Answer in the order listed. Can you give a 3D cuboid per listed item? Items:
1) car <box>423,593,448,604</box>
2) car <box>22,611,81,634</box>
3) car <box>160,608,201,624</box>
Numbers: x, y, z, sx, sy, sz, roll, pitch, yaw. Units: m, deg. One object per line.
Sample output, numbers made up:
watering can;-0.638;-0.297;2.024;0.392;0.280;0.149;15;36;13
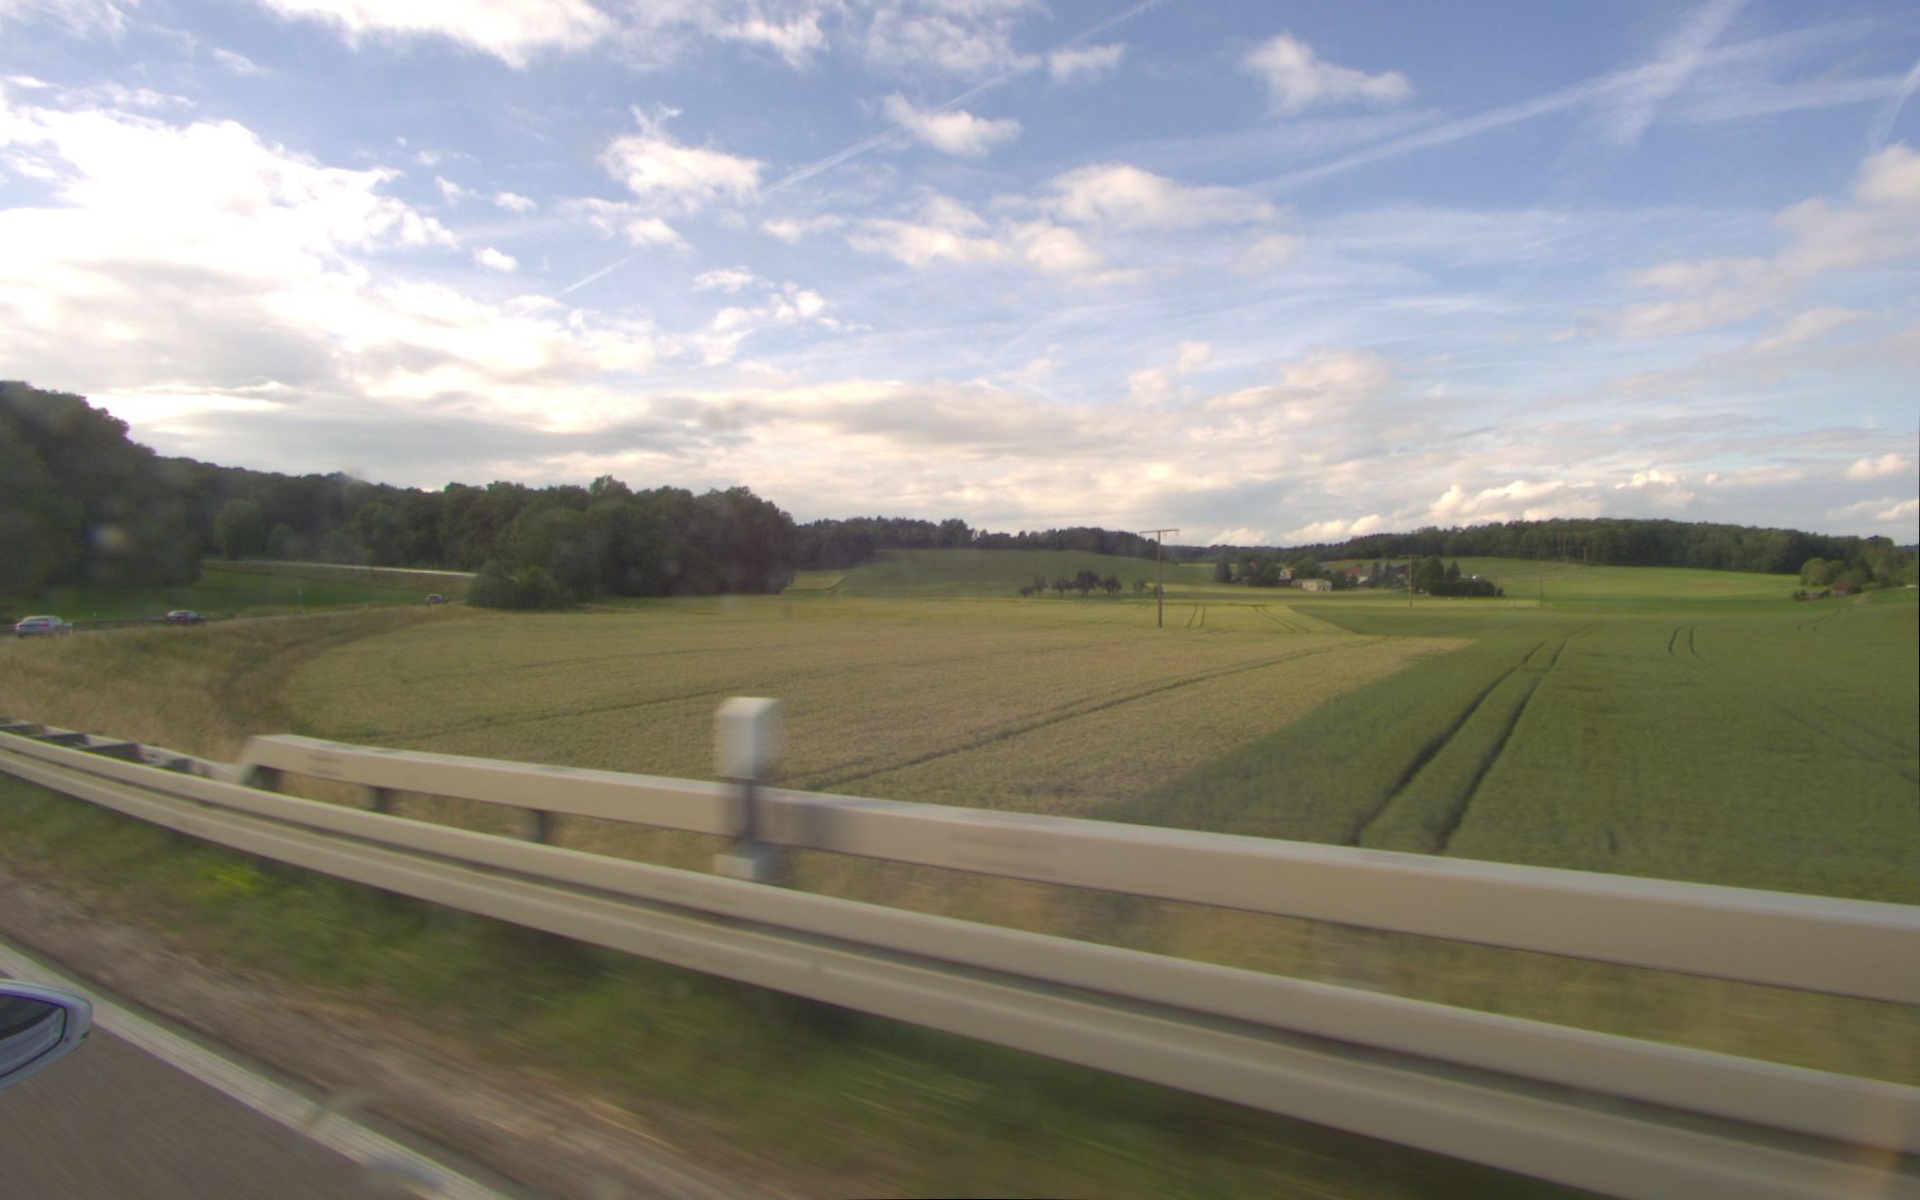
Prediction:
car;-77.678;-0.201;148.400;1.962;1.701;4.176;0;0;-8
car;-59.240;1.437;65.344;1.660;1.394;3.985;-2;1;-24
car;-66.917;1.357;85.992;1.449;1.244;3.294;-2;1;-13
